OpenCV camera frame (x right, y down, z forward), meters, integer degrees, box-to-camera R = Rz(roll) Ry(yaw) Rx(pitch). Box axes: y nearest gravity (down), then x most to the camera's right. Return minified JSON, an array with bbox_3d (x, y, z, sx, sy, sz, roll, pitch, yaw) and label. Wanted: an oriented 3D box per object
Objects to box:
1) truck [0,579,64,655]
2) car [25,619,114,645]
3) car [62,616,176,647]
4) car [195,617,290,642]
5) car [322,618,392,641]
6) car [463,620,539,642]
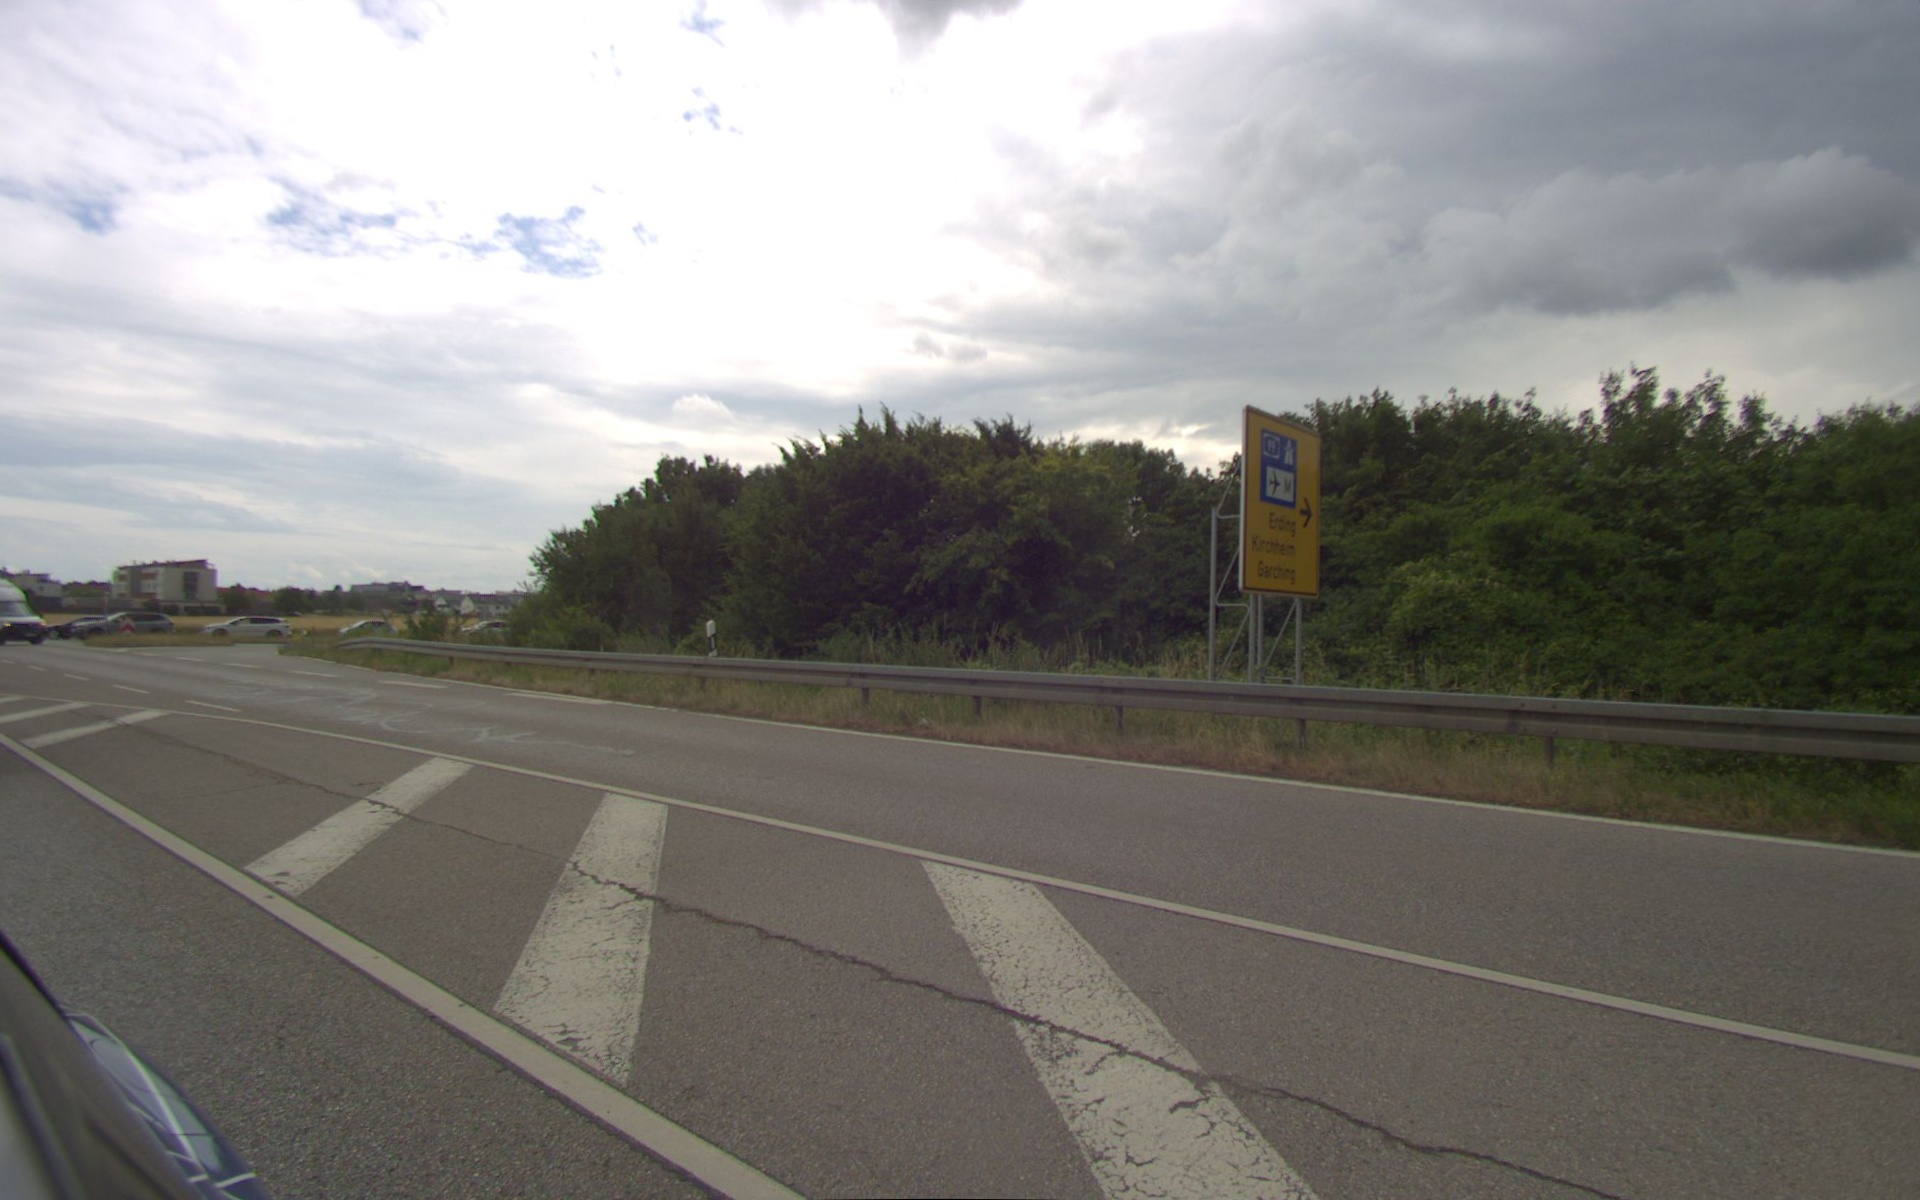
[{"bbox_3d":[-48.895,0.840,50.235,7.532,3.589,2.920,-1,0,14],"label":"truck"},{"bbox_3d":[-53.088,1.912,60.382,3.792,1.501,1.996,0,-1,7],"label":"car"},{"bbox_3d":[-48.501,1.809,58.449,1.996,1.702,4.758,-1,-1,36],"label":"car"},{"bbox_3d":[-44.558,1.793,62.903,4.607,1.510,2.002,1,-2,-42],"label":"car"},{"bbox_3d":[-39.909,1.927,67.014,3.662,1.510,1.732,1,-2,-42],"label":"car"},{"bbox_3d":[-33.227,2.215,73.286,4.607,1.510,2.002,1,-2,-42],"label":"car"}]
